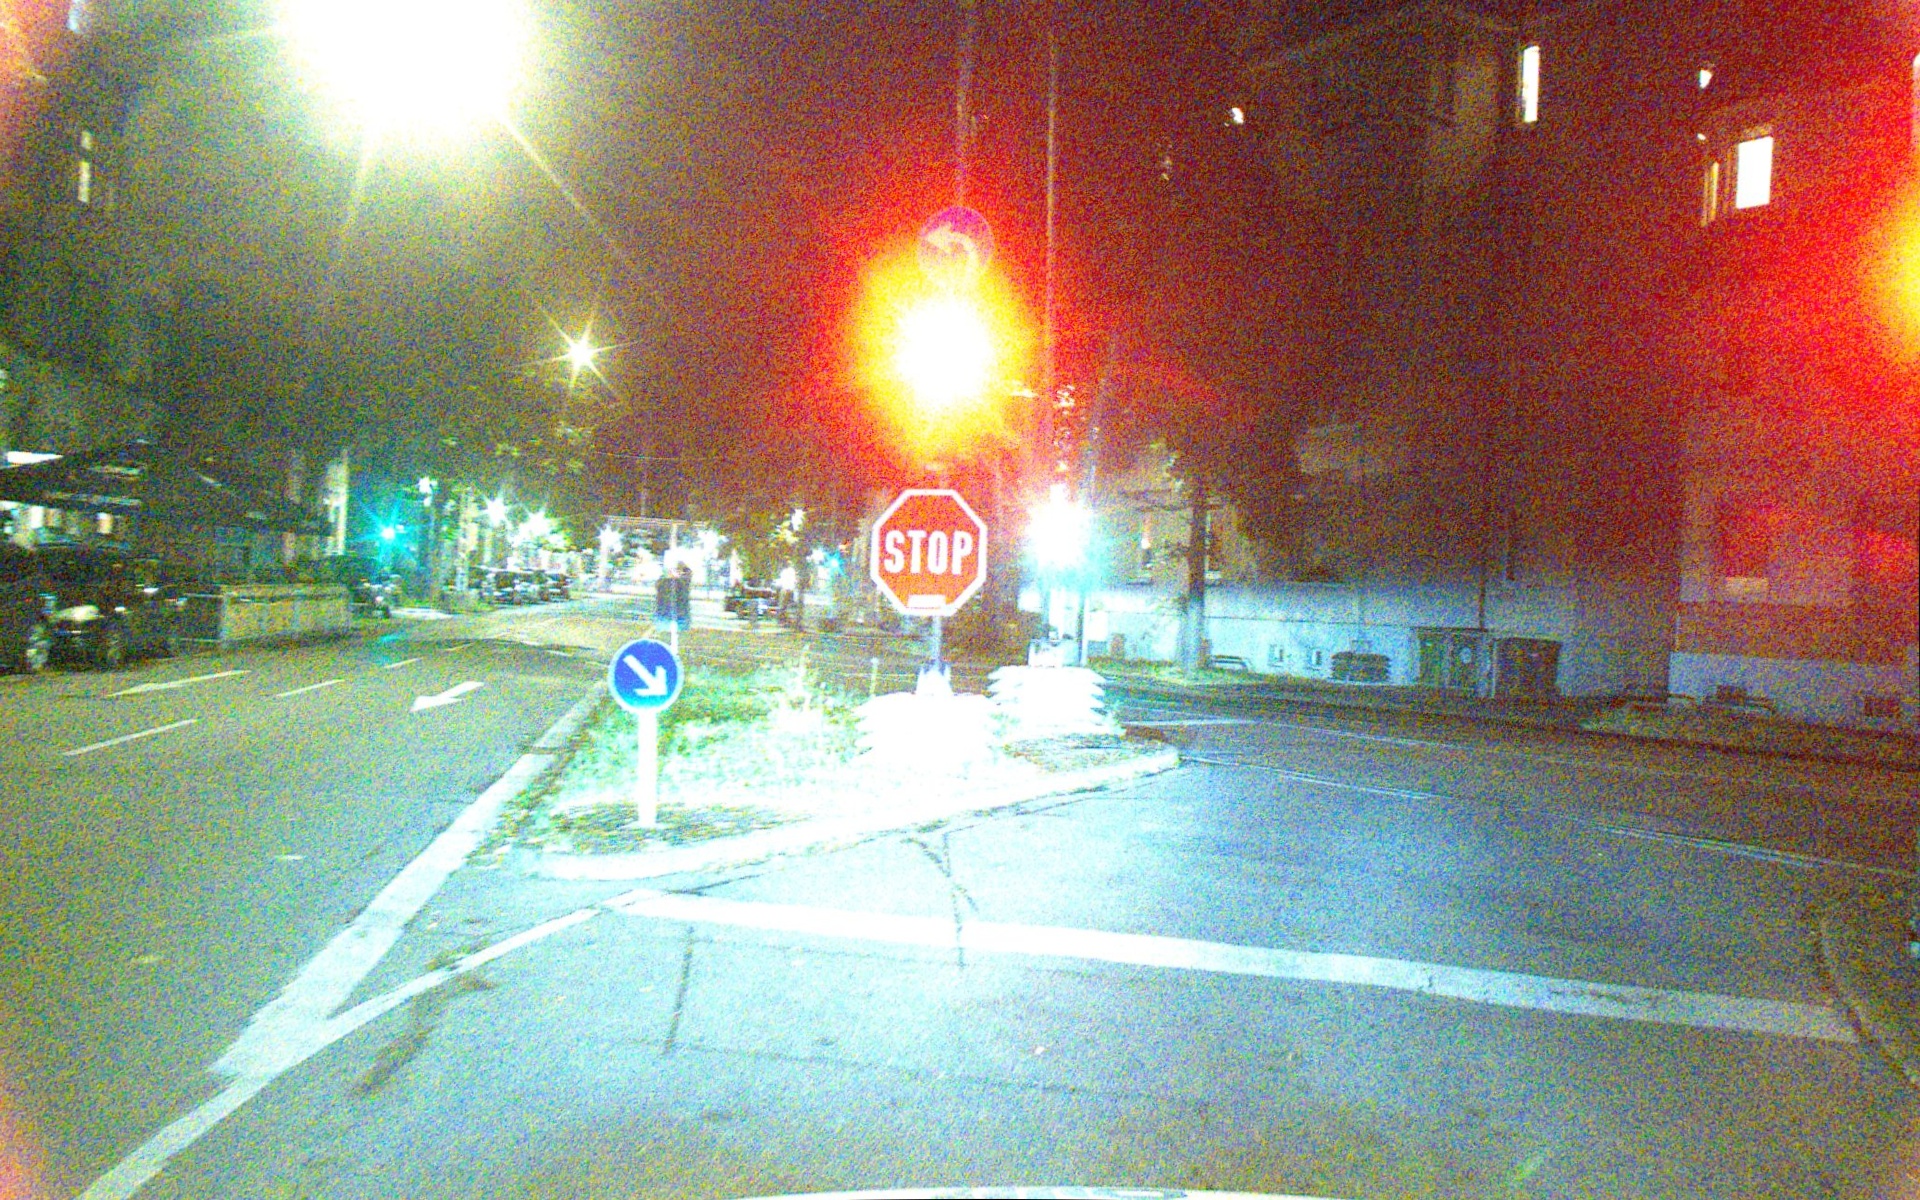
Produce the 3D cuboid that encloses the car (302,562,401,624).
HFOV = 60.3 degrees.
[{"bbox_3d":[-15.707,-0.185,42.873,1.621,1.456,3.992,2,0,-9],"label":"car"}]

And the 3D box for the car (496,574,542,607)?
[{"bbox_3d":[-20.757,-0.460,78.000,1.621,1.456,3.992,2,0,-9],"label":"car"}]

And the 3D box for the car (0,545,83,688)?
[{"bbox_3d":[-11.013,0.109,17.209,1.865,1.497,4.443,5,-1,-9],"label":"car"}]

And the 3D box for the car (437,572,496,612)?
[{"bbox_3d":[-19.012,-0.316,63.862,1.621,1.456,3.992,2,0,-9],"label":"car"}]

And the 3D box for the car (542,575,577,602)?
[{"bbox_3d":[-23.802,-0.681,98.355,1.621,1.456,3.992,2,0,-9],"label":"car"}]

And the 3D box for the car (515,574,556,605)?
[{"bbox_3d":[-21.752,-0.532,84.801,1.621,1.456,3.992,2,0,-9],"label":"car"}]

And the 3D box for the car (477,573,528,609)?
[{"bbox_3d":[-19.899,-0.409,72.061,1.621,1.456,3.992,2,0,-9],"label":"car"}]

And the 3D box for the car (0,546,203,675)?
[{"bbox_3d":[-11.731,0.110,22.143,1.771,1.507,4.313,3,0,-10],"label":"car"}]

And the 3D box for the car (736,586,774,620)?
[{"bbox_3d":[-9.470,0.138,76.358,1.620,1.456,3.993,2,0,-8],"label":"car"}]
